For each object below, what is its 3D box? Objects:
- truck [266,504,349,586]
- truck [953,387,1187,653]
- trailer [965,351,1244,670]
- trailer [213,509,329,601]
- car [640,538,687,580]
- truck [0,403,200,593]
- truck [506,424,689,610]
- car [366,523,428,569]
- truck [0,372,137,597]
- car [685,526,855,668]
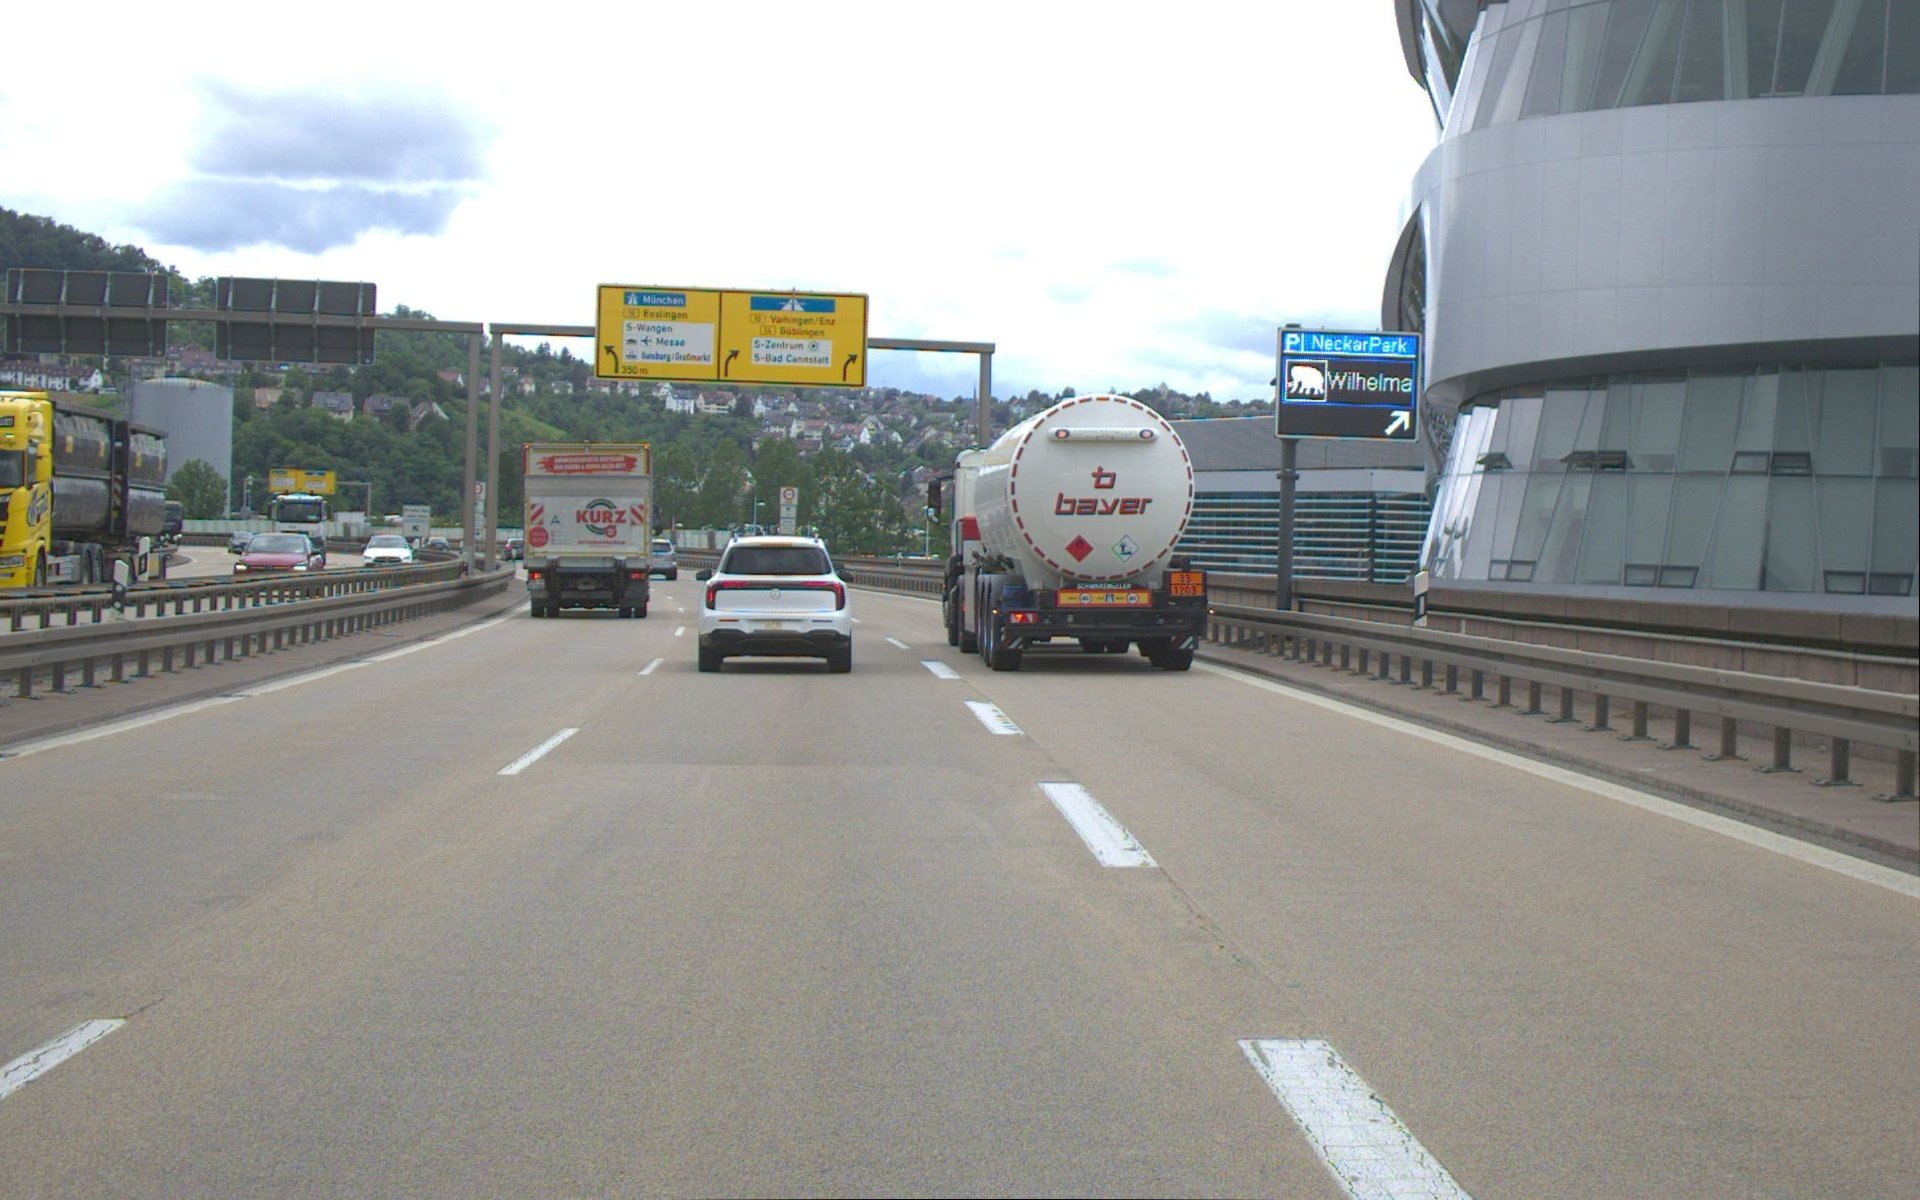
[{"bbox_3d":[-31.632,-2.609,167.082,3.056,3.763,12.521,1,0,-7],"label":"truck"},{"bbox_3d":[1.519,-1.108,50.868,3.014,3.644,6.273,1,0,-2],"label":"truck"},{"bbox_3d":[1.735,-1.070,45.163,3.057,3.777,8.304,1,0,-2],"label":"trailer"},{"bbox_3d":[-15.676,-1.000,78.380,1.993,2.007,4.000,1,0,-3],"label":"trailer"},{"bbox_3d":[-12.232,-1.676,141.864,1.683,1.644,4.360,2,0,-2],"label":"car"},{"bbox_3d":[-19.572,-2.206,78.357,3.056,4.051,8.664,1,0,-4],"label":"truck"},{"bbox_3d":[-7.591,-1.665,73.036,3.057,3.678,8.304,1,0,-1],"label":"truck"},{"bbox_3d":[-21.231,-2.024,129.736,1.993,1.601,4.808,1,0,-6],"label":"car"},{"bbox_3d":[-18.789,-2.109,67.813,3.056,4.051,11.858,1,0,-4],"label":"truck"},{"bbox_3d":[-2.355,-0.036,43.042,1.993,1.669,4.408,1,0,-2],"label":"car"}]
